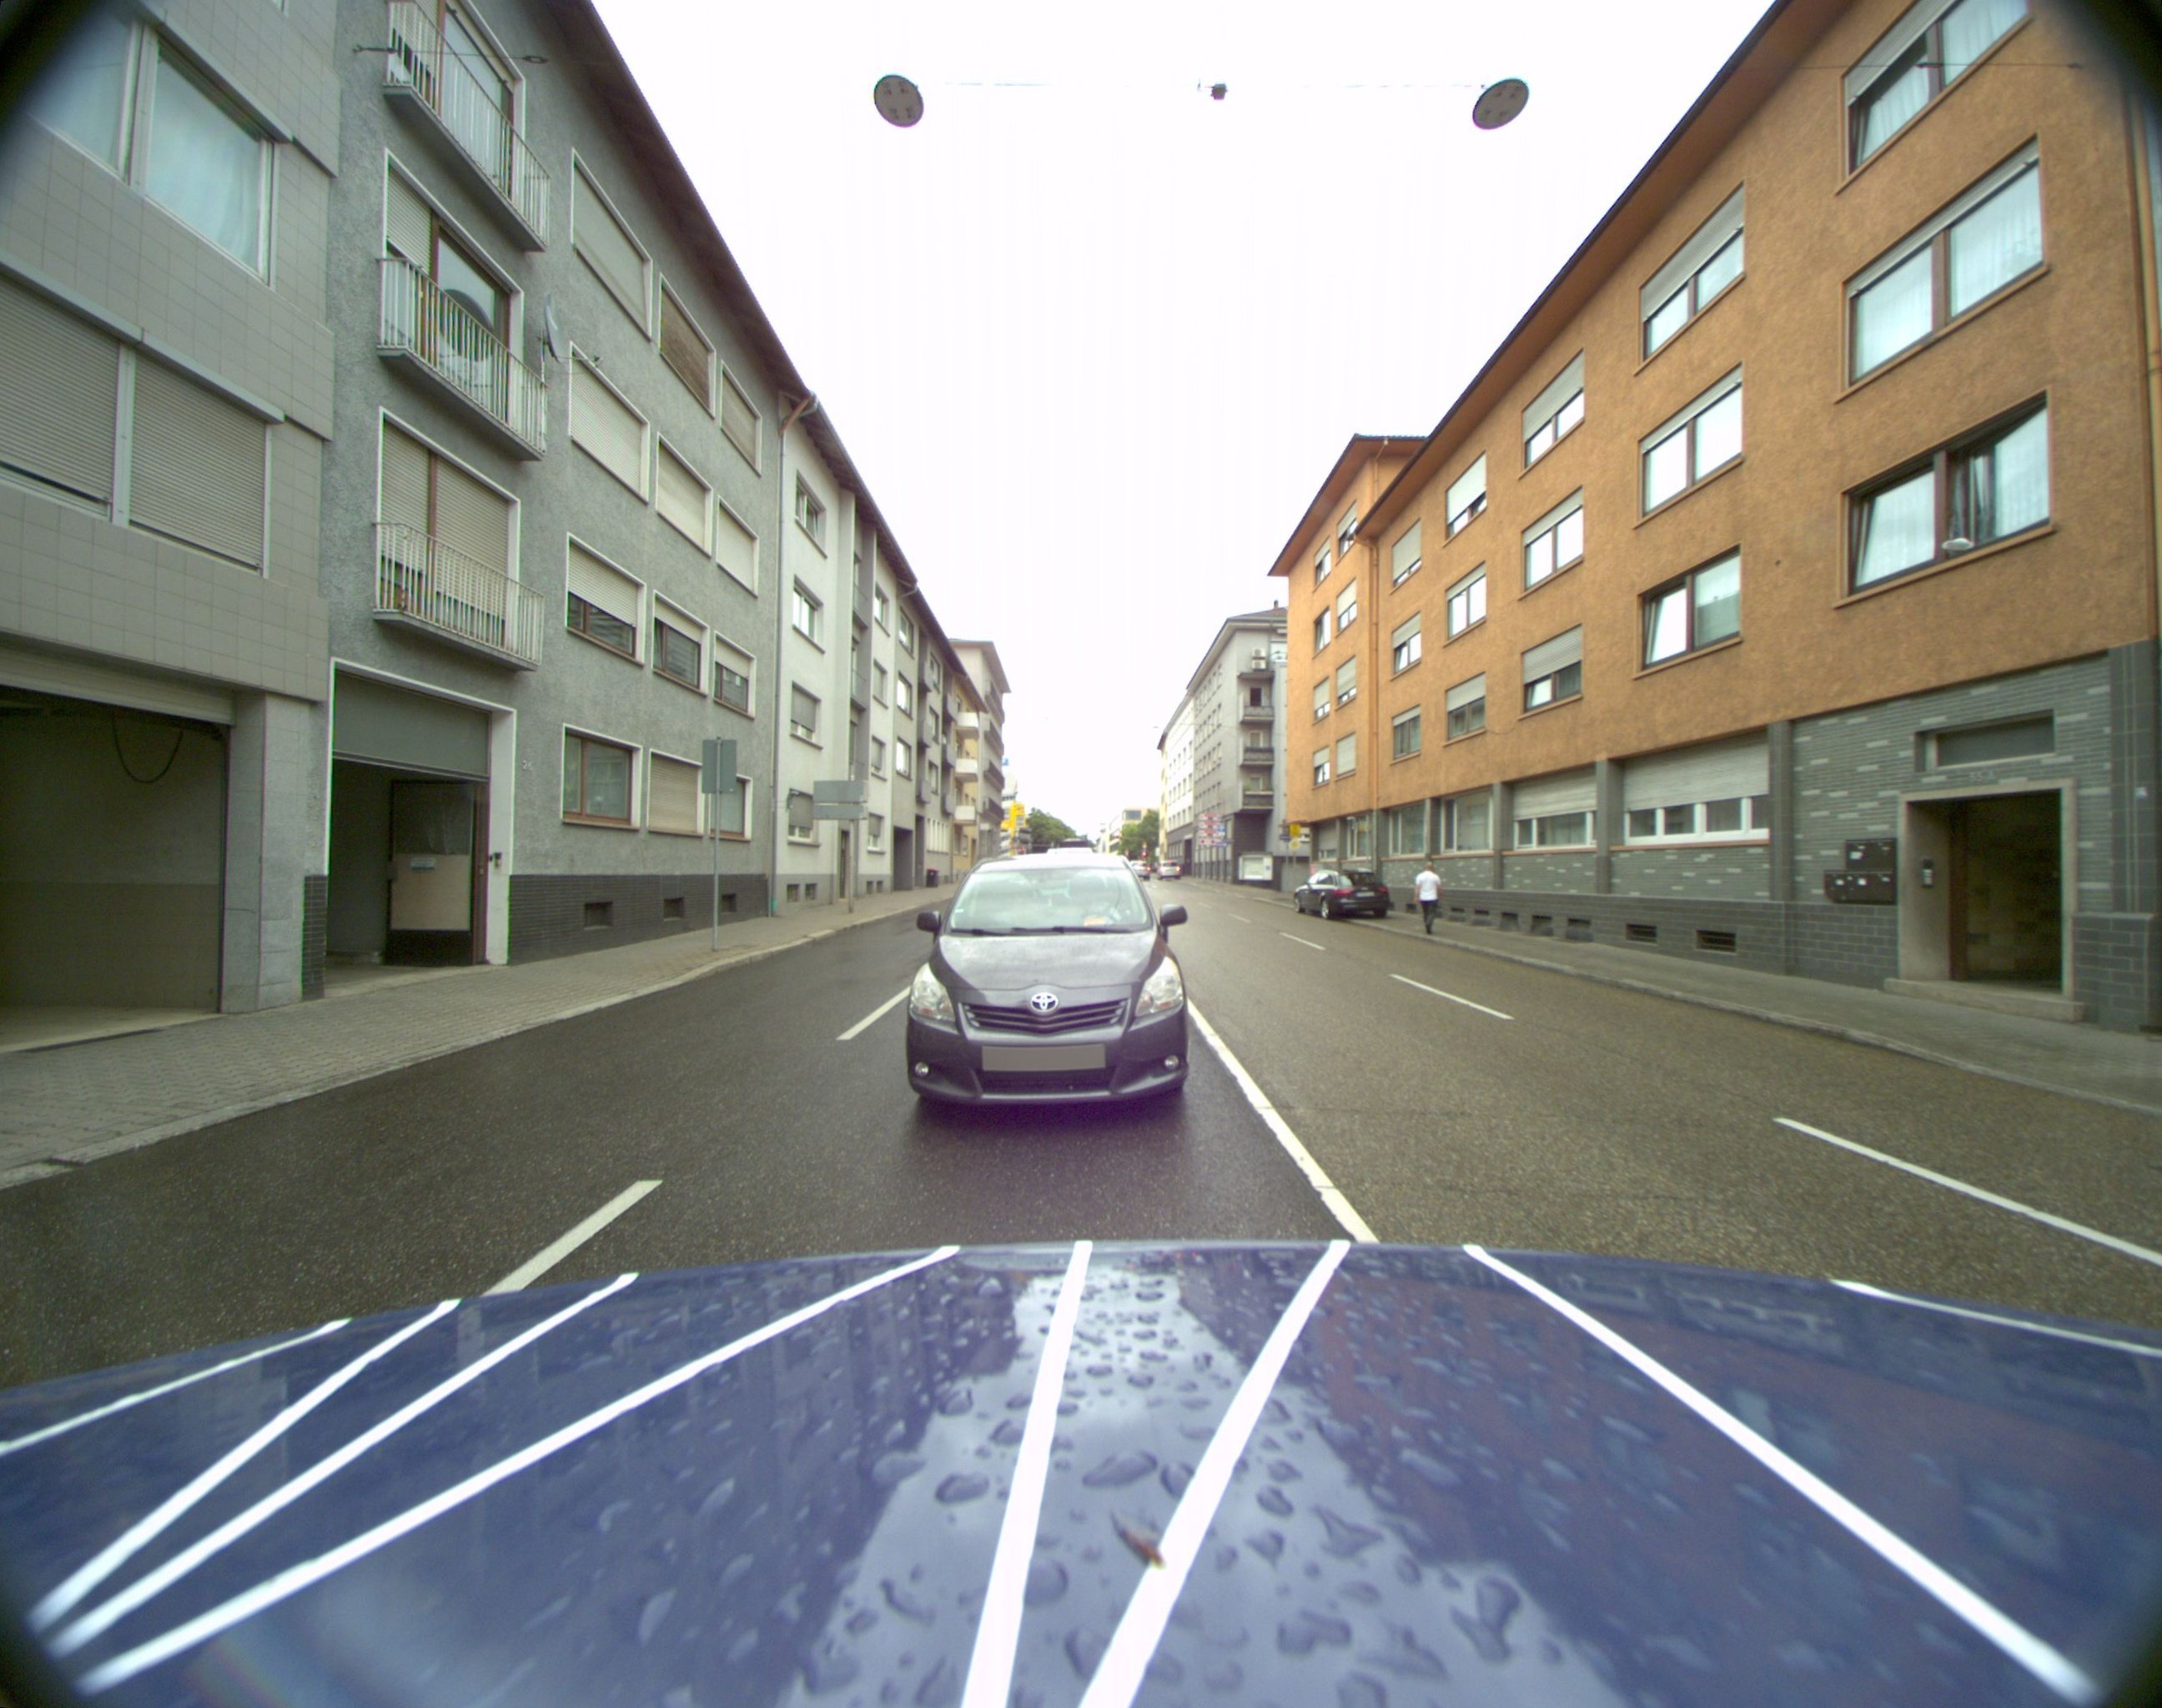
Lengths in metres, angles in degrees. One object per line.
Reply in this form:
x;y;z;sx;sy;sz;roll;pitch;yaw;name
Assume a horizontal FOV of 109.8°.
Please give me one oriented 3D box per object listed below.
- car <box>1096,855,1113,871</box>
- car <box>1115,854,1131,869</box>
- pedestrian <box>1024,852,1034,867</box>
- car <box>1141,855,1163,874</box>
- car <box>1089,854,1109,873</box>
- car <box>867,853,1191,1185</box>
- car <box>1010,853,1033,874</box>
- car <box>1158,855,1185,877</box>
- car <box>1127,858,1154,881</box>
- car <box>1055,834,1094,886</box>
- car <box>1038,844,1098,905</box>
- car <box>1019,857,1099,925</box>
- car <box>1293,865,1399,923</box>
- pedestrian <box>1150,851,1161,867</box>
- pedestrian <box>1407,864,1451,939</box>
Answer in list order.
2.848;1.067;92.780;1.856;1.712;4.217;-2;1;1;car
5.358;0.920;97.359;1.856;1.712;4.217;-2;1;1;car
-6.356;0.671;92.624;1.119;1.741;0.961;1;1;-5;pedestrian
7.260;1.068;77.670;1.856;1.712;4.217;-2;1;1;car
1.800;0.940;76.771;1.856;1.712;4.217;-2;1;1;car
-0.253;0.904;6.247;1.699;1.712;4.217;-2;1;1;car
-5.128;0.789;65.881;1.856;1.663;4.215;-2;1;-4;car
7.818;0.998;65.746;1.856;1.712;4.217;-2;1;1;car
4.728;1.201;60.937;1.856;1.651;4.610;-2;1;1;car
-0.330;0.299;43.639;2.033;2.731;4.368;-2;1;1;car
-0.396;0.638;26.596;1.856;1.882;4.217;-2;1;1;car
-0.505;0.895;20.090;1.856;1.524;3.792;-2;1;1;car
8.044;1.152;23.454;1.799;1.466;4.217;-2;1;1;car
9.392;0.621;95.881;1.309;2.002;1.258;-2;1;1;pedestrian
8.052;1.080;17.563;0.767;1.630;1.025;-1;1;31;pedestrian
